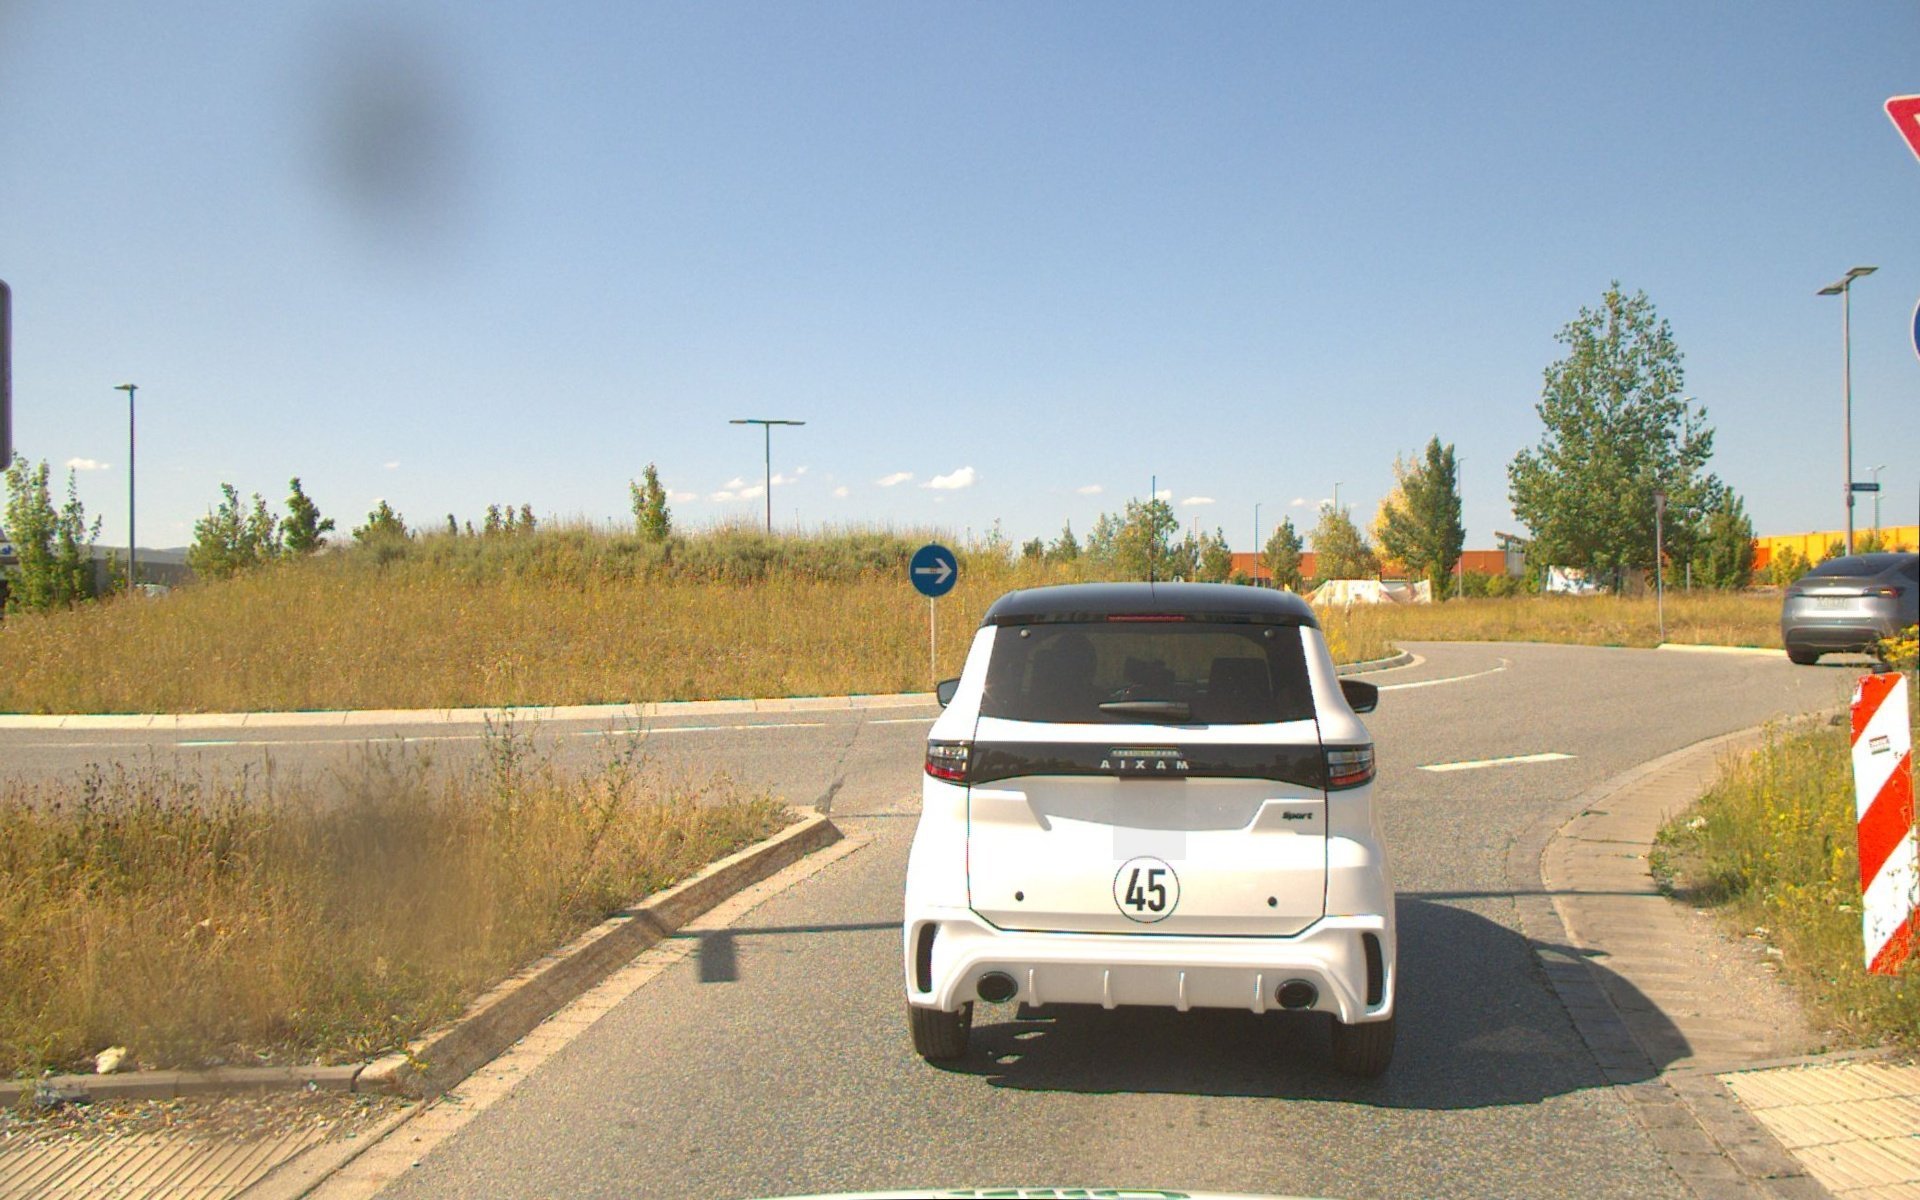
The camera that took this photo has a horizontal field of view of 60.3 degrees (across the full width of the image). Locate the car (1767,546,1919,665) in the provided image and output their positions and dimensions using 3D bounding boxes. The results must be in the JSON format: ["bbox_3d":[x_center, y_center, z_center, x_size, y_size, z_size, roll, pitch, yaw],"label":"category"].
[{"bbox_3d":[13.773,0.050,24.251,4.122,1.612,1.808,-1,0,-37],"label":"car"}]

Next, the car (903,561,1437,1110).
[{"bbox_3d":[0.822,0.610,6.293,1.477,1.465,3.354,0,2,9],"label":"car"}]

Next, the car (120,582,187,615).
[{"bbox_3d":[-45.247,-0.071,92.841,1.954,1.762,3.998,-1,0,-3],"label":"car"}]
